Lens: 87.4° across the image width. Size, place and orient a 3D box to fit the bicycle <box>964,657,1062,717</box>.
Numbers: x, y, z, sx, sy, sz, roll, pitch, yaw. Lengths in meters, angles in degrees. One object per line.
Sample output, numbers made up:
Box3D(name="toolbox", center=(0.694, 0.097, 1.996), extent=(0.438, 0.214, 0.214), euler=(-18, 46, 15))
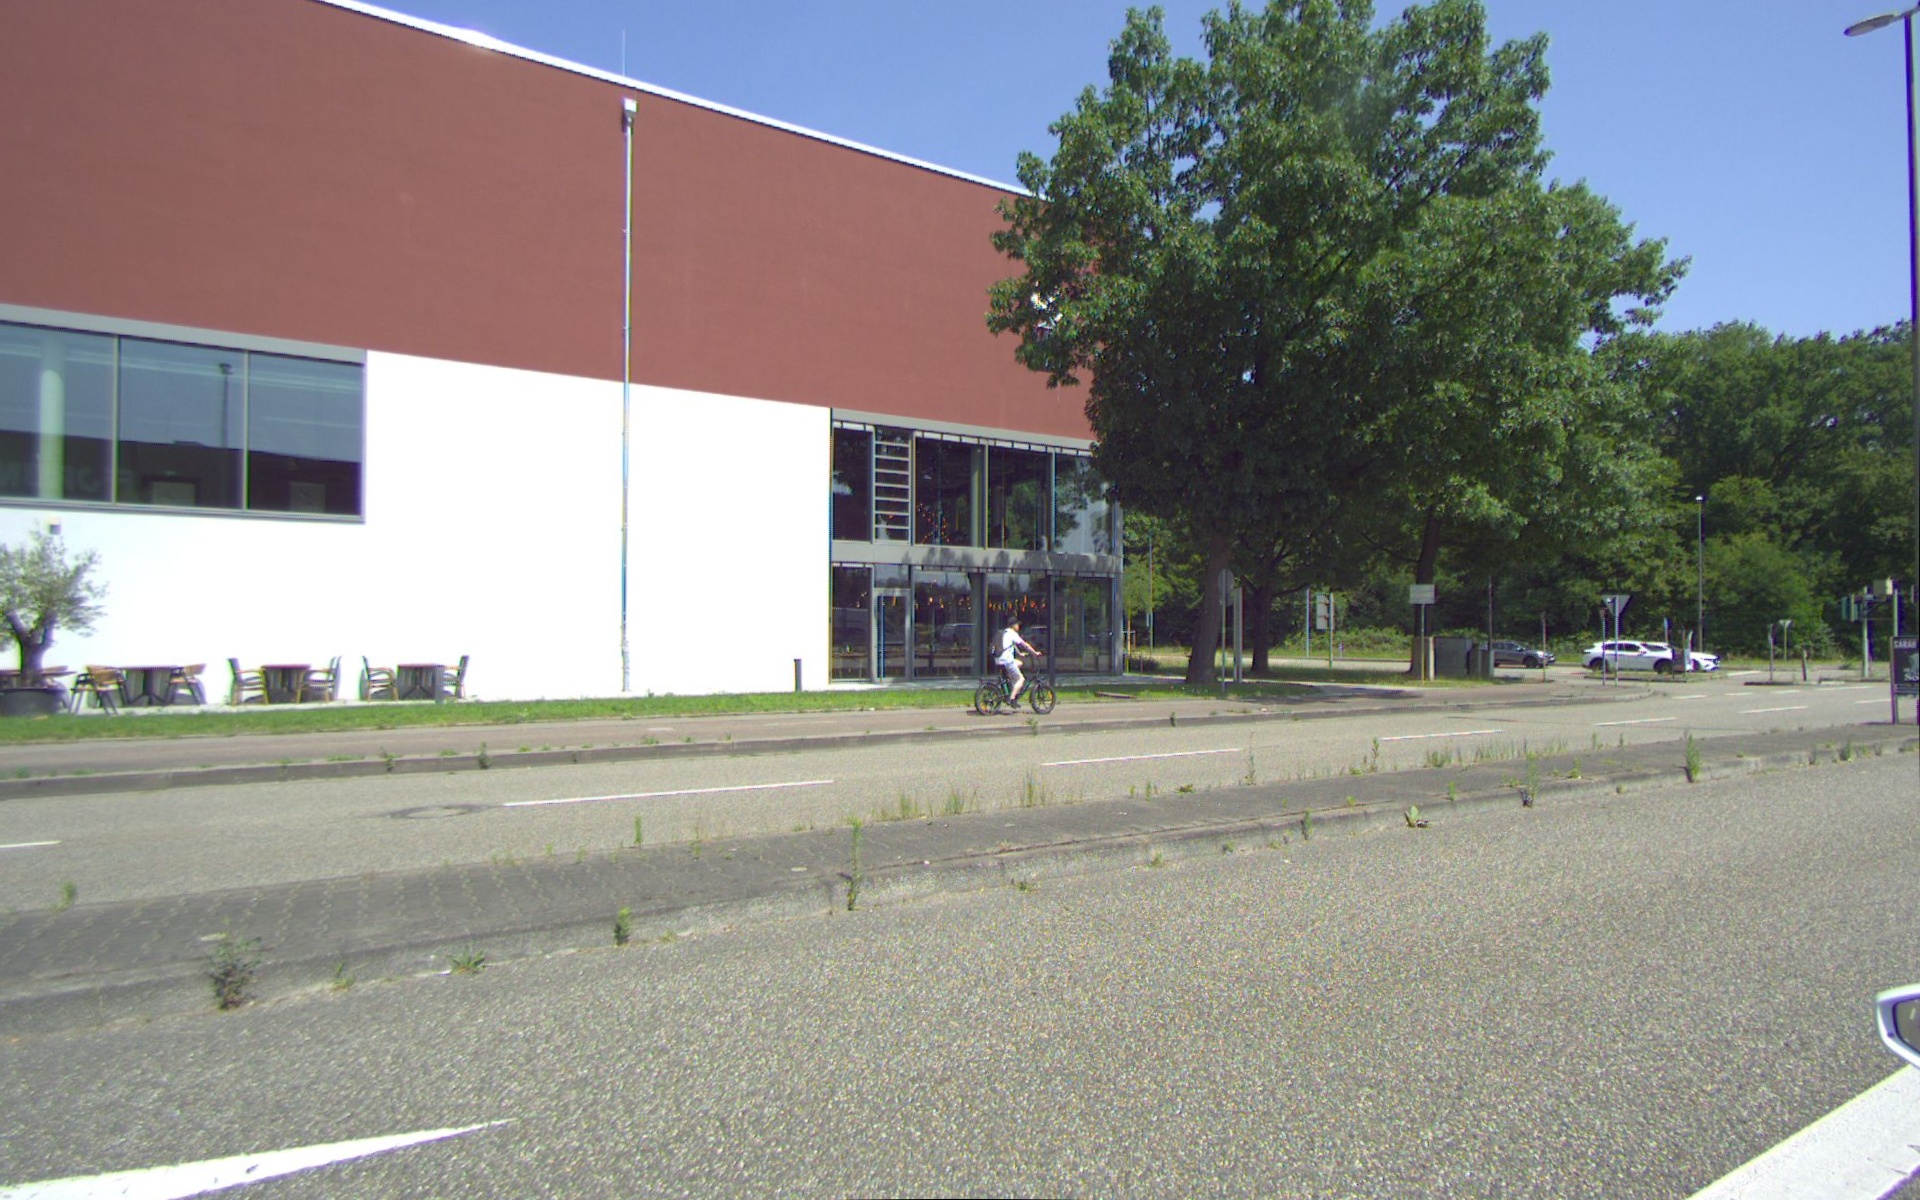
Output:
Box3D(name="bicycle", center=(0.936, 1.503, 17.555), extent=(1.640, 0.982, 0.614), euler=(1, -2, -30))

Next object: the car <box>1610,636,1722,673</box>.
Box3D(name="car", center=(36.550, 2.855, 52.092), extent=(1.794, 1.703, 4.340), euler=(2, -6, -37))

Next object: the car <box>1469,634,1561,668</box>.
Box3D(name="car", center=(32.184, 2.949, 58.335), extent=(1.796, 1.704, 4.332), euler=(2, -1, -41))

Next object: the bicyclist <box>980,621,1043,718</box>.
Box3D(name="bicyclist", center=(0.901, 1.195, 17.553), extent=(0.913, 1.652, 0.605), euler=(1, -2, -30))

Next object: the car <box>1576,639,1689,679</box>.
Box3D(name="car", center=(33.401, 2.875, 49.988), extent=(1.794, 1.704, 4.338), euler=(2, 0, -37))
